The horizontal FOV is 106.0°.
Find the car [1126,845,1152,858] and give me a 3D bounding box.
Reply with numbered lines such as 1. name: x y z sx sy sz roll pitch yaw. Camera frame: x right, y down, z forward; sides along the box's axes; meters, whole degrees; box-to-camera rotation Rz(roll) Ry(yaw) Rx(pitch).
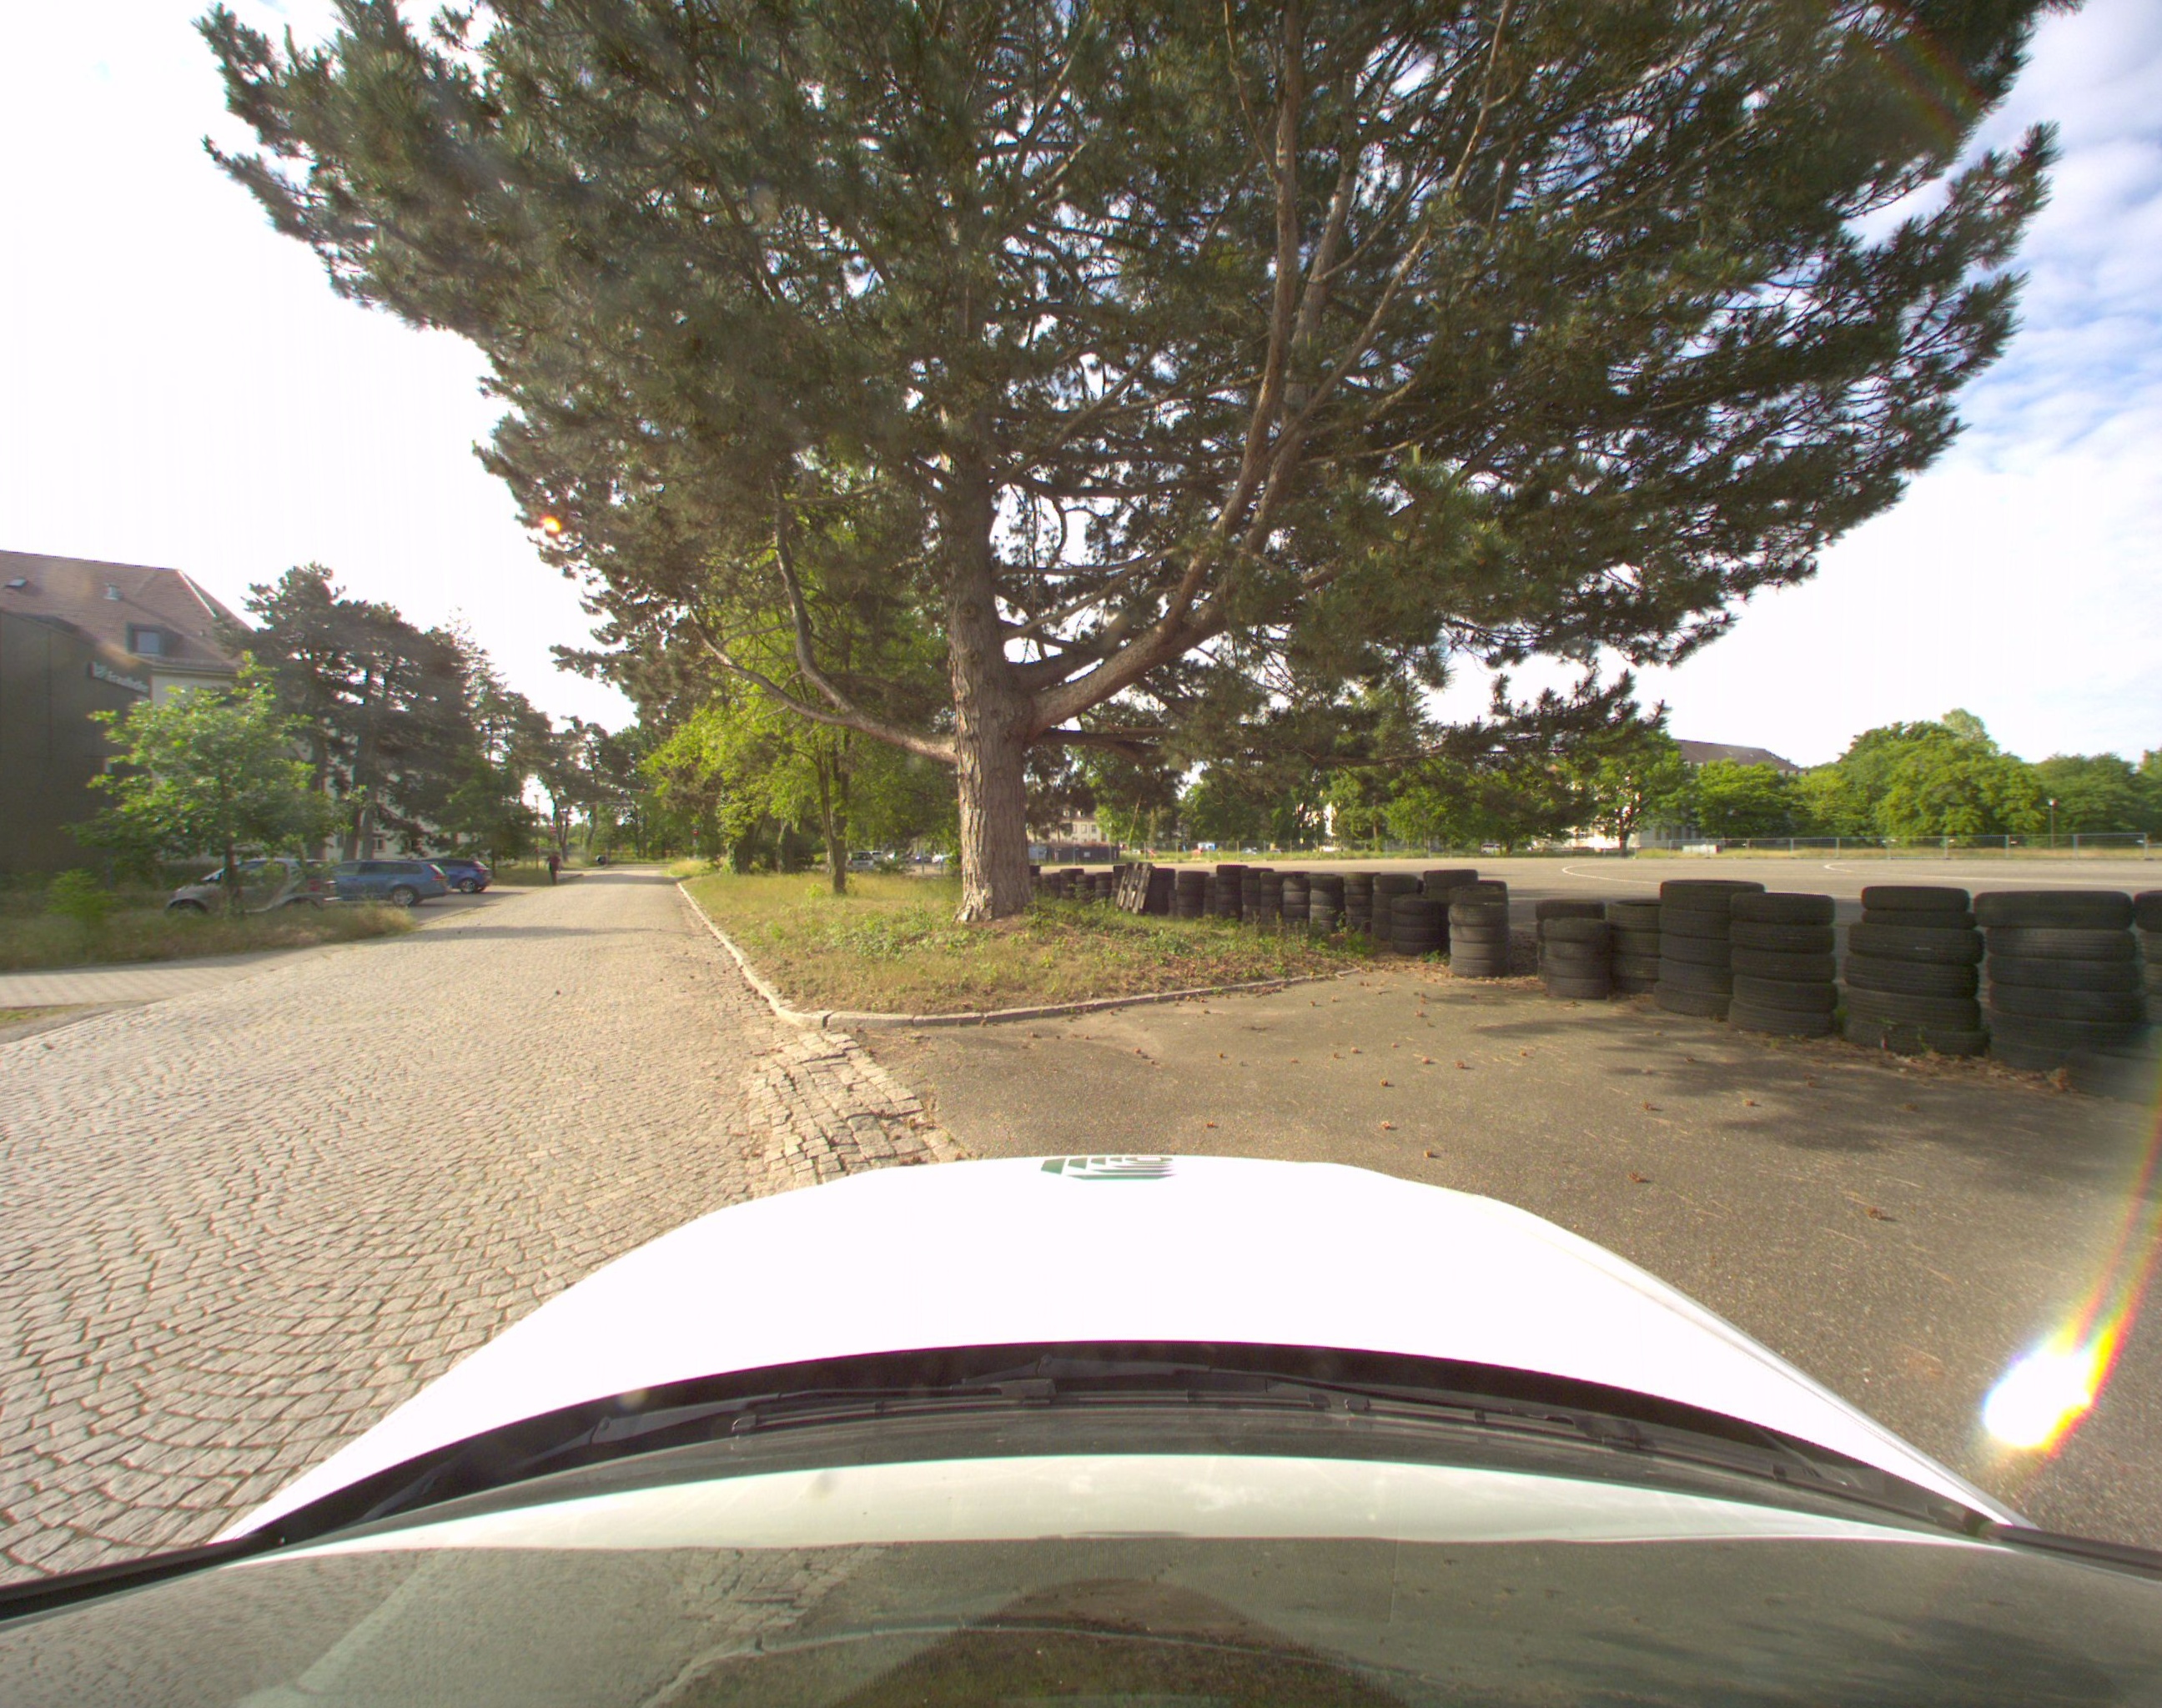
1. car: 8.105 -0.368 113.847 2.002 1.750 3.970 -1 0 -23

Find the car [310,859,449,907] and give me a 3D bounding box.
1. car: -22.180 0.912 25.895 3.105 1.457 1.477 2 -1 -33

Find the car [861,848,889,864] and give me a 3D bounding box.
1. car: -21.443 0.167 84.707 2.005 1.618 3.964 -1 0 -28

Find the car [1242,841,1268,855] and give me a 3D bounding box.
1. car: 26.365 -0.856 123.475 2.002 2.013 3.970 -1 0 -22

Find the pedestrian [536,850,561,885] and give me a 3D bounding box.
1. pedestrian: -28.256 0.718 43.218 0.964 1.844 0.944 -1 0 -42

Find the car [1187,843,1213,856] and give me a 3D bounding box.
1. car: 17.291 -0.641 118.545 2.001 1.750 3.971 -1 0 -22

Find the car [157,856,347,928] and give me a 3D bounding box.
1. car: -19.368 0.843 19.169 2.773 1.549 1.414 -1 0 -24

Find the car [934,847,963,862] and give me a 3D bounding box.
1. car: -14.604 0.035 89.345 2.005 1.618 3.964 -1 0 -28

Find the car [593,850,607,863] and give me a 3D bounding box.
1. car: -75.237 0.363 127.425 1.707 2.013 3.964 -1 0 -28

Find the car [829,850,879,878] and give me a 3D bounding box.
1. car: -13.131 0.551 47.022 1.898 1.541 3.962 -1 0 -29

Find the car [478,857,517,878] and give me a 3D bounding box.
1. car: -47.702 1.046 66.656 2.005 1.618 3.964 -1 0 -28

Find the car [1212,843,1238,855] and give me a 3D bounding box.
1. car: 21.396 -0.698 120.920 2.001 1.750 3.973 -1 0 -20

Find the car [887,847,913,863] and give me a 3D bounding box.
1. car: -19.173 0.130 86.219 1.830 1.618 3.966 -1 0 -26

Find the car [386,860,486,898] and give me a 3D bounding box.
1. car: -26.775 1.004 33.923 3.106 1.450 1.476 -1 0 -34

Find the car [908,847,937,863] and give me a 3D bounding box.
1. car: -17.062 0.086 87.678 2.005 1.618 3.964 -1 0 -28
